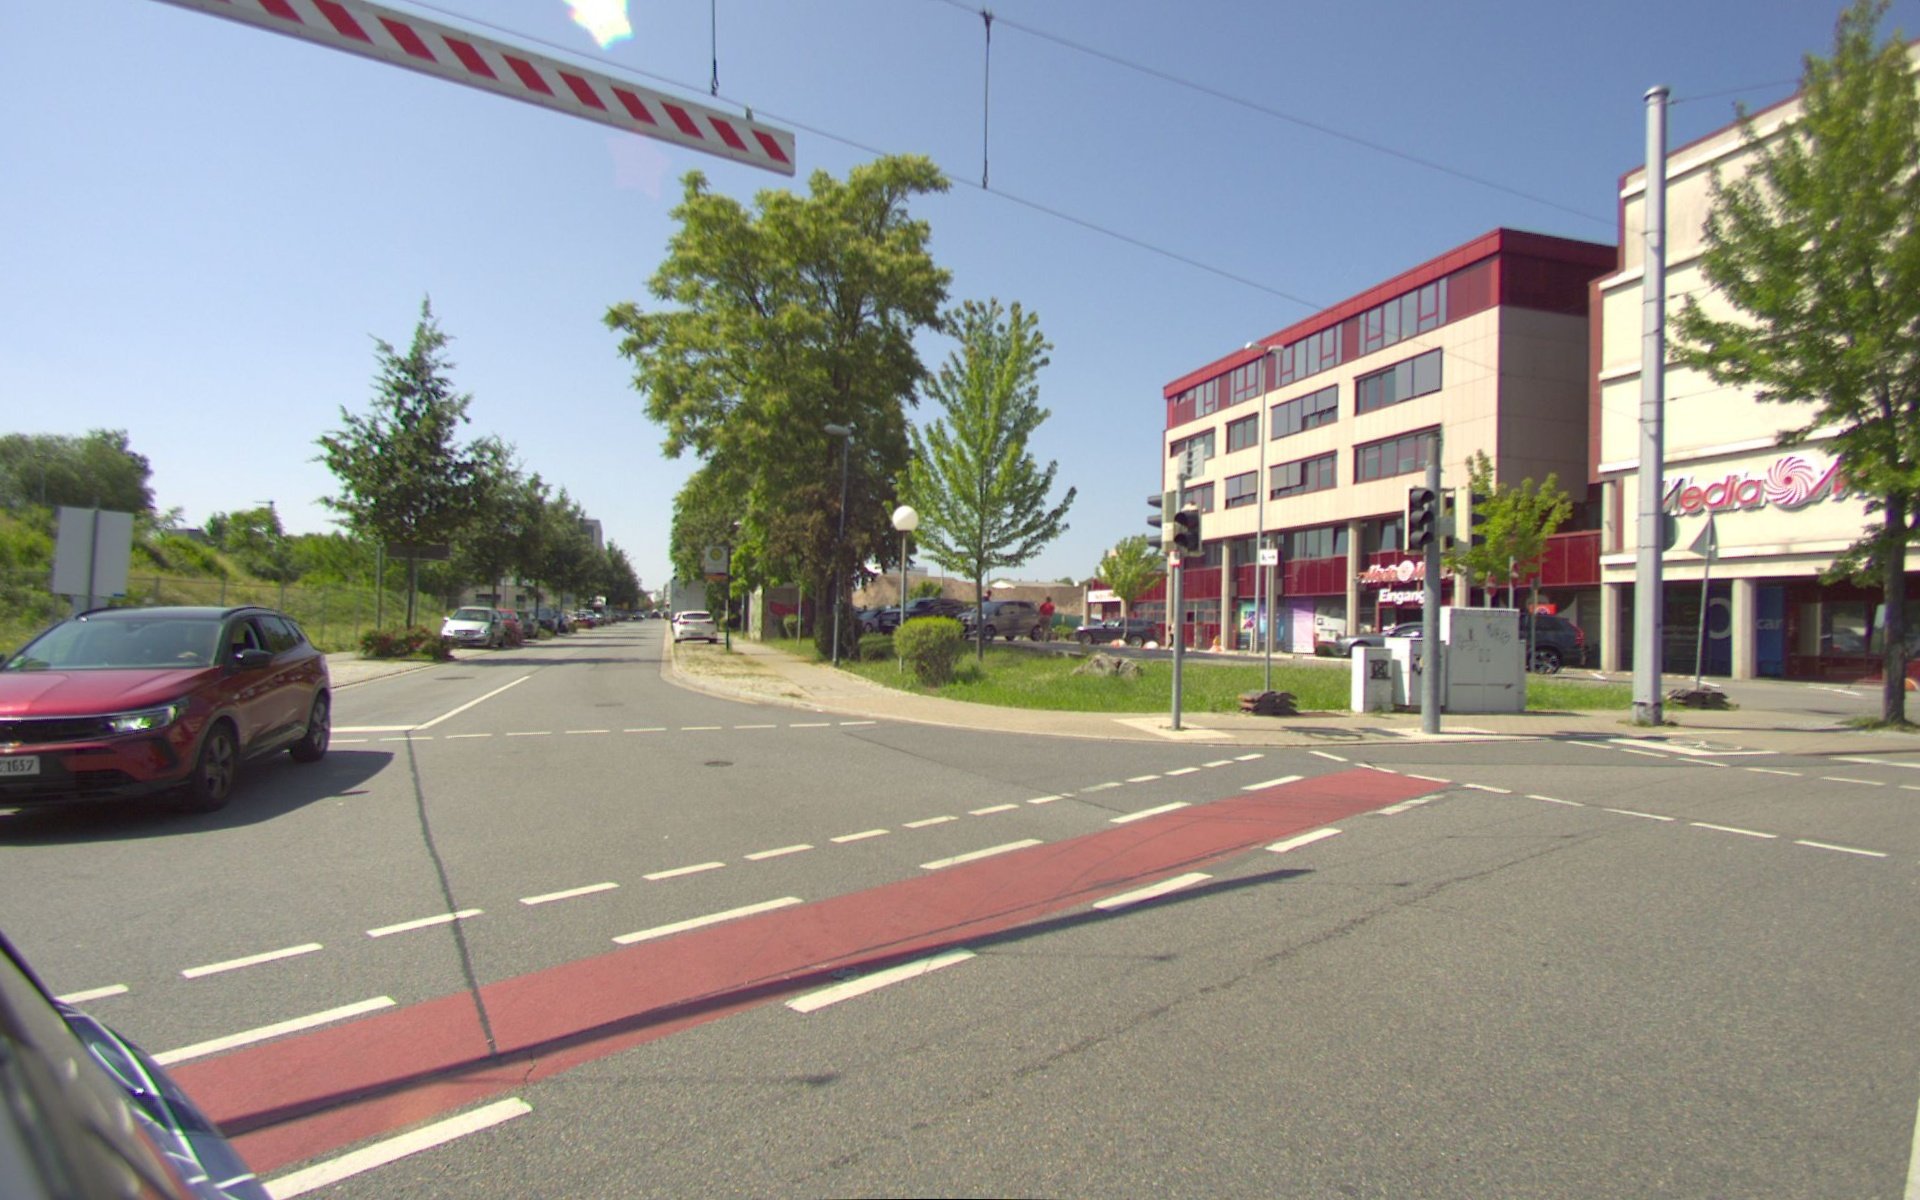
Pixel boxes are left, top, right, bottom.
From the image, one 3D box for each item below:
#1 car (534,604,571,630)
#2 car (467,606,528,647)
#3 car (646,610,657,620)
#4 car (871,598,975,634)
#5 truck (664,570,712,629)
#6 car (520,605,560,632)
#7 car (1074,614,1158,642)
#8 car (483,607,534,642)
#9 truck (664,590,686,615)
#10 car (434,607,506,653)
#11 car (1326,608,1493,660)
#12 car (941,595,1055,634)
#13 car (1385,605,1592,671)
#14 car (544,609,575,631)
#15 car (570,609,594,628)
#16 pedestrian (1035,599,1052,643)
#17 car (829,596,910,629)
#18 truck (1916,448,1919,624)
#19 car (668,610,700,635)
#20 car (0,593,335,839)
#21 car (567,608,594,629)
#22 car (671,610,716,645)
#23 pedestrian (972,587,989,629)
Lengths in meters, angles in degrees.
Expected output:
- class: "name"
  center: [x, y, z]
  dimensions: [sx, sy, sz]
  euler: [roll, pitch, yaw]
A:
- class: "car"
  center: [-27.033, 1.127, 67.188]
  dimensions: [1.817, 1.628, 4.012]
  euler: [3, -2, -17]
- class: "car"
  center: [-20.198, 1.142, 44.386]
  dimensions: [1.817, 1.628, 4.012]
  euler: [3, -2, -17]
- class: "car"
  center: [-58.694, 2.850, 192.605]
  dimensions: [1.762, 1.807, 4.011]
  euler: [1, -1, -15]
- class: "car"
  center: [-1.575, 0.664, 44.708]
  dimensions: [1.851, 1.504, 4.751]
  euler: [-1, -1, 40]
- class: "truck"
  center: [-20.640, 0.005, 76.541]
  dimensions: [3.299, 4.175, 9.304]
  euler: [0, -1, -16]
- class: "car"
  center: [-25.303, 1.089, 61.084]
  dimensions: [1.838, 1.554, 4.012]
  euler: [1, -1, -17]
- class: "car"
  center: [8.425, 1.492, 54.668]
  dimensions: [4.218, 1.462, 1.707]
  euler: [0, -1, 27]
- class: "car"
  center: [-22.885, 1.254, 51.414]
  dimensions: [1.817, 1.628, 4.012]
  euler: [3, -2, -17]
- class: "truck"
  center: [-38.791, 0.373, 137.865]
  dimensions: [2.659, 3.345, 7.362]
  euler: [1, -1, -13]
- class: "car"
  center: [-19.327, 1.160, 40.090]
  dimensions: [1.817, 1.628, 4.383]
  euler: [4, -2, -17]
- class: "car"
  center: [14.630, 1.083, 33.096]
  dimensions: [4.844, 1.504, 1.901]
  euler: [1, -1, 26]
- class: "car"
  center: [1.391, 0.502, 36.586]
  dimensions: [3.925, 1.348, 1.722]
  euler: [0, -1, -38]
- class: "car"
  center: [15.351, 1.112, 29.766]
  dimensions: [5.079, 1.606, 2.172]
  euler: [3, -2, 21]
- class: "car"
  center: [-30.887, 1.532, 78.149]
  dimensions: [1.817, 1.628, 4.012]
  euler: [3, -2, -17]
- class: "car"
  center: [-35.297, 1.741, 94.550]
  dimensions: [1.817, 1.628, 4.012]
  euler: [3, -2, -17]
- class: "pedestrian"
  center: [2.946, 0.739, 35.765]
  dimensions: [0.558, 1.539, 0.755]
  euler: [0, -1, 8]
- class: "car"
  center: [-5.289, 0.778, 59.722]
  dimensions: [2.000, 1.818, 4.649]
  euler: [-1, -3, 43]
- class: "truck"
  center: [14.428, -0.018, 11.728]
  dimensions: [4.953, 3.636, 2.761]
  euler: [1, -2, -18]
- class: "car"
  center: [-17.510, 1.390, 64.003]
  dimensions: [1.785, 1.527, 4.012]
  euler: [0, -1, -18]
- class: "car"
  center: [-6.987, 0.820, 8.742]
  dimensions: [1.791, 1.616, 4.320]
  euler: [0, -2, -19]
- class: "car"
  center: [-32.629, 1.601, 87.090]
  dimensions: [1.817, 1.628, 4.012]
  euler: [3, -2, -17]
- class: "car"
  center: [-12.030, 1.193, 45.502]
  dimensions: [1.736, 1.504, 4.012]
  euler: [0, 0, -18]
- class: "pedestrian"
  center: [0.782, 0.299, 38.033]
  dimensions: [0.557, 1.539, 0.755]
  euler: [1, -1, 5]
